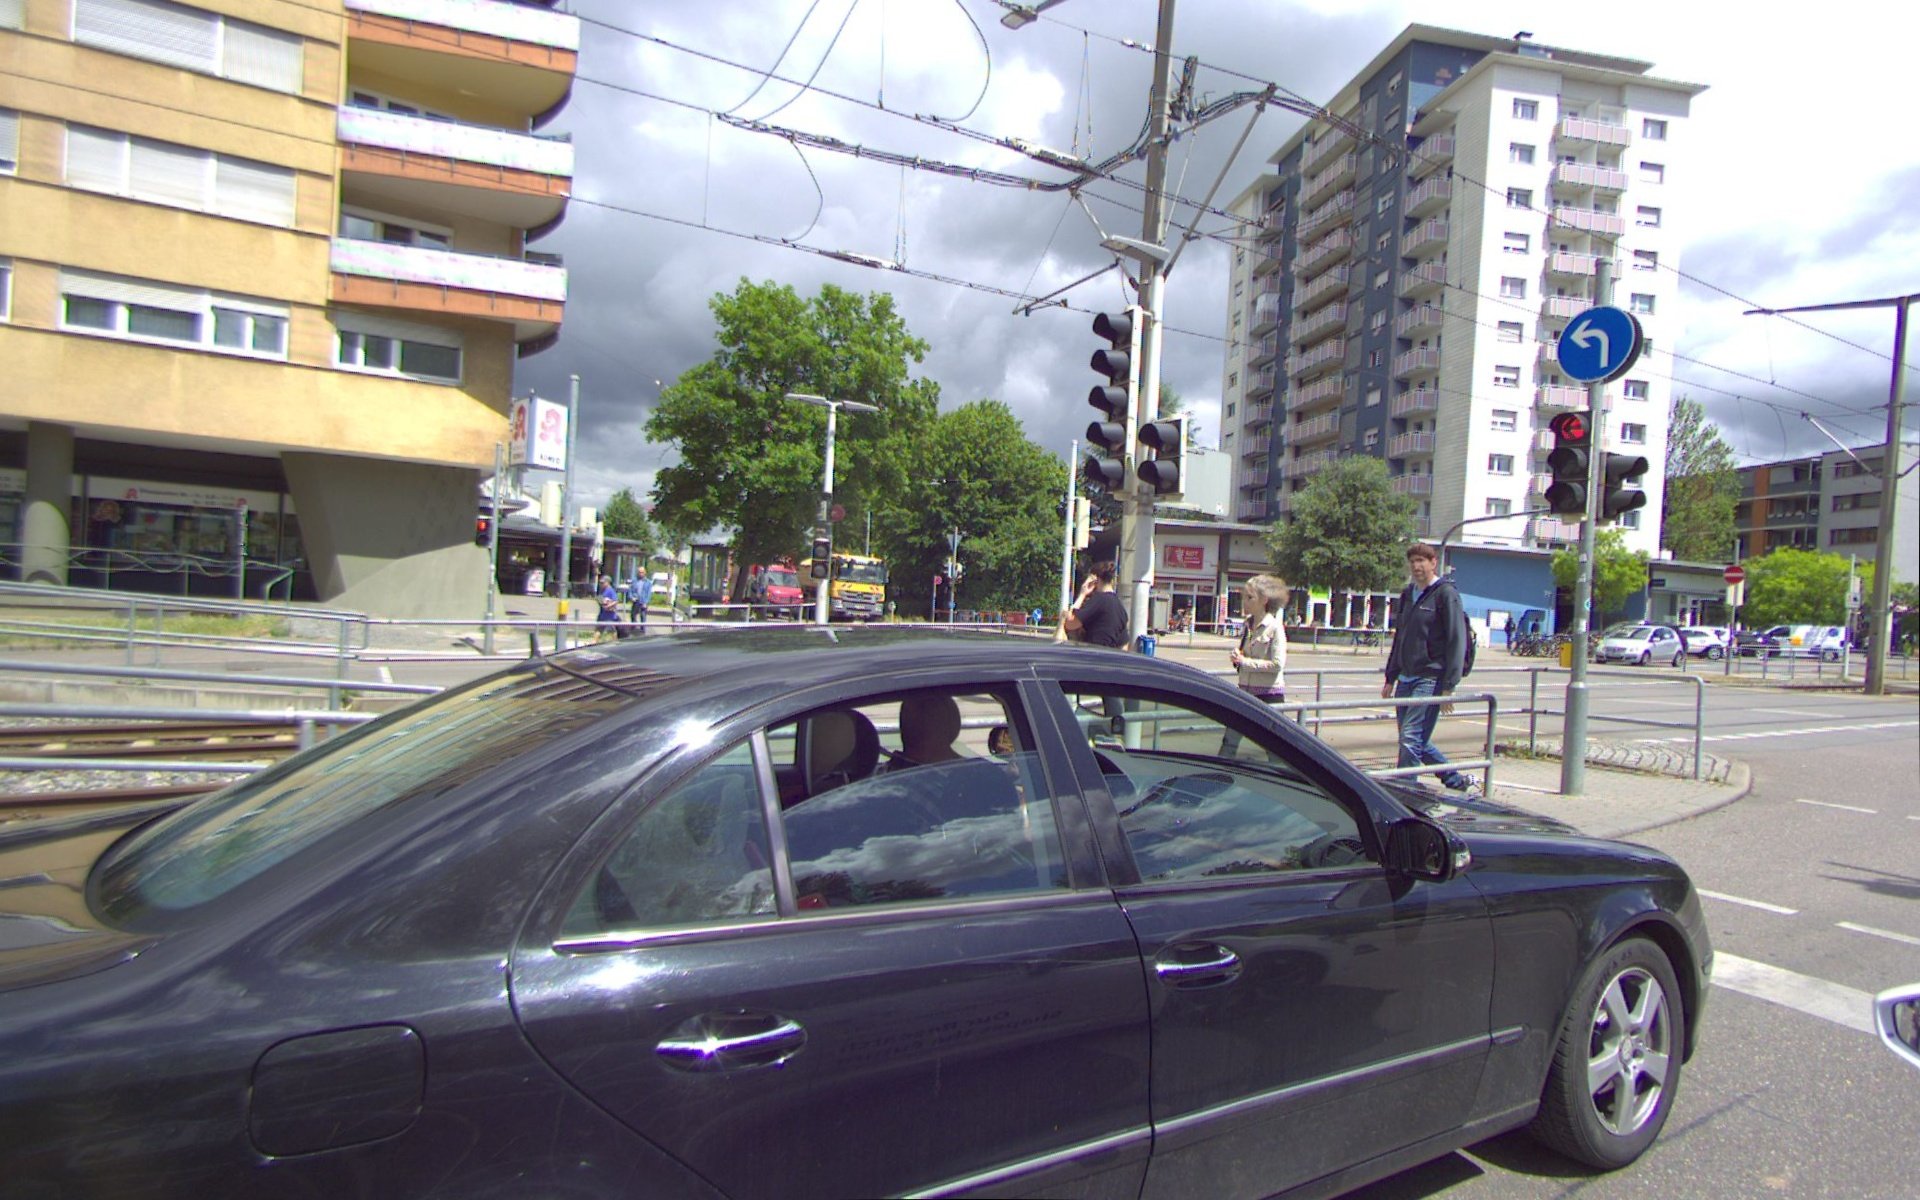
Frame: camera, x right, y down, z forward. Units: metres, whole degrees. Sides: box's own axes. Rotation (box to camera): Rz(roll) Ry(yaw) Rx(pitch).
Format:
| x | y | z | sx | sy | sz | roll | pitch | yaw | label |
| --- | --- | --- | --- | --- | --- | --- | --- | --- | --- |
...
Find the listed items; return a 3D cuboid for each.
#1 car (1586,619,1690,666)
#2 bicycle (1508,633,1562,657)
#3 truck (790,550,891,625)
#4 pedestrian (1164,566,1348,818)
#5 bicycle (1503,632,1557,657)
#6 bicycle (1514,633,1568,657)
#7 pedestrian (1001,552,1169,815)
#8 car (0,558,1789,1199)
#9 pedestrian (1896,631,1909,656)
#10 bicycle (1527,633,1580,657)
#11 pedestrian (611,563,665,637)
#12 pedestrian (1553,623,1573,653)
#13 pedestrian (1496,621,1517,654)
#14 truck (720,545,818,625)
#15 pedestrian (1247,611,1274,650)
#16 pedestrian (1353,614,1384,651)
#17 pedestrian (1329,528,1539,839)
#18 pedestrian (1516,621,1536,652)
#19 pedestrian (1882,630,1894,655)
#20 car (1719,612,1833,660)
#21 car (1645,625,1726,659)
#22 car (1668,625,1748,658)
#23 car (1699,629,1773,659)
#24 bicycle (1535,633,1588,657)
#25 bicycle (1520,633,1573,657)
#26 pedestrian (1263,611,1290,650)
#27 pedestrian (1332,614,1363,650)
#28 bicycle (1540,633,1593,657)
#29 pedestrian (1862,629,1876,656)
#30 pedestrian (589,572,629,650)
| x | y | z | sx | sy | sz | roll | pitch | yaw | label |
| --- | --- | --- | --- | --- | --- | --- | --- | --- | --- |
| 26.904 | 1.688 | 39.866 | 3.827 | 1.715 | 1.928 | 2 | 0 | -30 | car |
| 24.395 | 1.894 | 42.625 | 0.490 | 0.947 | 1.933 | 2 | 0 | -35 | bicycle |
| -5.840 | -0.560 | 47.973 | 2.733 | 3.244 | 7.442 | 2 | 0 | -23 | truck |
| 2.157 | 0.637 | 7.362 | 0.944 | 1.696 | 0.865 | 2 | -1 | -27 | pedestrian |
| 24.024 | 1.881 | 42.346 | 0.490 | 0.947 | 1.933 | 2 | 0 | -35 | bicycle |
| 24.805 | 1.909 | 42.915 | 0.490 | 0.947 | 1.933 | 2 | 0 | -35 | bicycle |
| 0.916 | 0.565 | 7.433 | 0.766 | 1.789 | 0.925 | 1 | 1 | -41 | pedestrian |
| 0.114 | 0.733 | 2.629 | 4.491 | 1.481 | 1.720 | 2 | 0 | -30 | car |
| 67.460 | 3.083 | 71.883 | 0.663 | 1.739 | 0.542 | 1 | 0 | -40 | pedestrian |
| 25.652 | 1.940 | 43.468 | 0.490 | 0.947 | 1.933 | 2 | 0 | -35 | bicycle |
| -7.633 | 0.013 | 23.804 | 0.750 | 1.636 | 0.780 | 7 | 1 | 13 | pedestrian |
| 33.773 | 2.104 | 56.264 | 0.693 | 1.637 | 0.760 | 1 | 0 | -43 | pedestrian |
| 27.824 | 1.880 | 51.144 | 0.693 | 1.637 | 0.760 | 1 | 0 | -43 | pedestrian |
| -9.166 | -0.665 | 47.295 | 2.692 | 3.320 | 8.876 | 2 | 0 | -23 | truck |
| 13.245 | 1.346 | 44.275 | 1.077 | 1.681 | 0.948 | 2 | -1 | 20 | pedestrian |
| 19.393 | 1.536 | 47.674 | 0.978 | 1.681 | 0.968 | 2 | -1 | -8 | pedestrian |
| 3.280 | 0.529 | 6.983 | 0.888 | 1.968 | 0.960 | 1 | 1 | -34 | pedestrian |
| 31.274 | 2.019 | 55.476 | 0.693 | 1.637 | 0.760 | 1 | 0 | -43 | pedestrian |
| 64.894 | 2.973 | 70.265 | 0.401 | 1.739 | 0.542 | 1 | 0 | -39 | pedestrian |
| 47.511 | 2.013 | 58.744 | 2.776 | 2.511 | 6.724 | 2 | 0 | 17 | car |
| 37.875 | 2.144 | 52.560 | 1.921 | 1.591 | 4.220 | 2 | 0 | 13 | car |
| 40.522 | 2.205 | 54.507 | 1.921 | 1.558 | 4.220 | 2 | 0 | 13 | car |
| 43.226 | 2.418 | 56.034 | 1.754 | 1.439 | 4.219 | 2 | 0 | 15 | car |
| 26.170 | 1.959 | 43.761 | 0.490 | 0.947 | 1.933 | 2 | 0 | -35 | bicycle |
| 25.190 | 1.923 | 43.189 | 0.490 | 0.947 | 1.933 | 2 | 0 | -35 | bicycle |
| 14.154 | 1.359 | 44.944 | 1.077 | 1.681 | 0.948 | 2 | -1 | 20 | pedestrian |
| 18.238 | 1.496 | 47.260 | 0.978 | 1.681 | 0.968 | 2 | -1 | -8 | pedestrian |
| 26.559 | 1.973 | 44.039 | 0.490 | 0.947 | 1.933 | 2 | 0 | -35 | bicycle |
| 58.897 | 2.764 | 65.097 | 0.400 | 1.739 | 0.544 | 1 | 0 | -30 | pedestrian |
| -7.631 | 0.228 | 21.838 | 0.769 | 1.638 | 0.761 | 0 | 4 | -23 | pedestrian |
